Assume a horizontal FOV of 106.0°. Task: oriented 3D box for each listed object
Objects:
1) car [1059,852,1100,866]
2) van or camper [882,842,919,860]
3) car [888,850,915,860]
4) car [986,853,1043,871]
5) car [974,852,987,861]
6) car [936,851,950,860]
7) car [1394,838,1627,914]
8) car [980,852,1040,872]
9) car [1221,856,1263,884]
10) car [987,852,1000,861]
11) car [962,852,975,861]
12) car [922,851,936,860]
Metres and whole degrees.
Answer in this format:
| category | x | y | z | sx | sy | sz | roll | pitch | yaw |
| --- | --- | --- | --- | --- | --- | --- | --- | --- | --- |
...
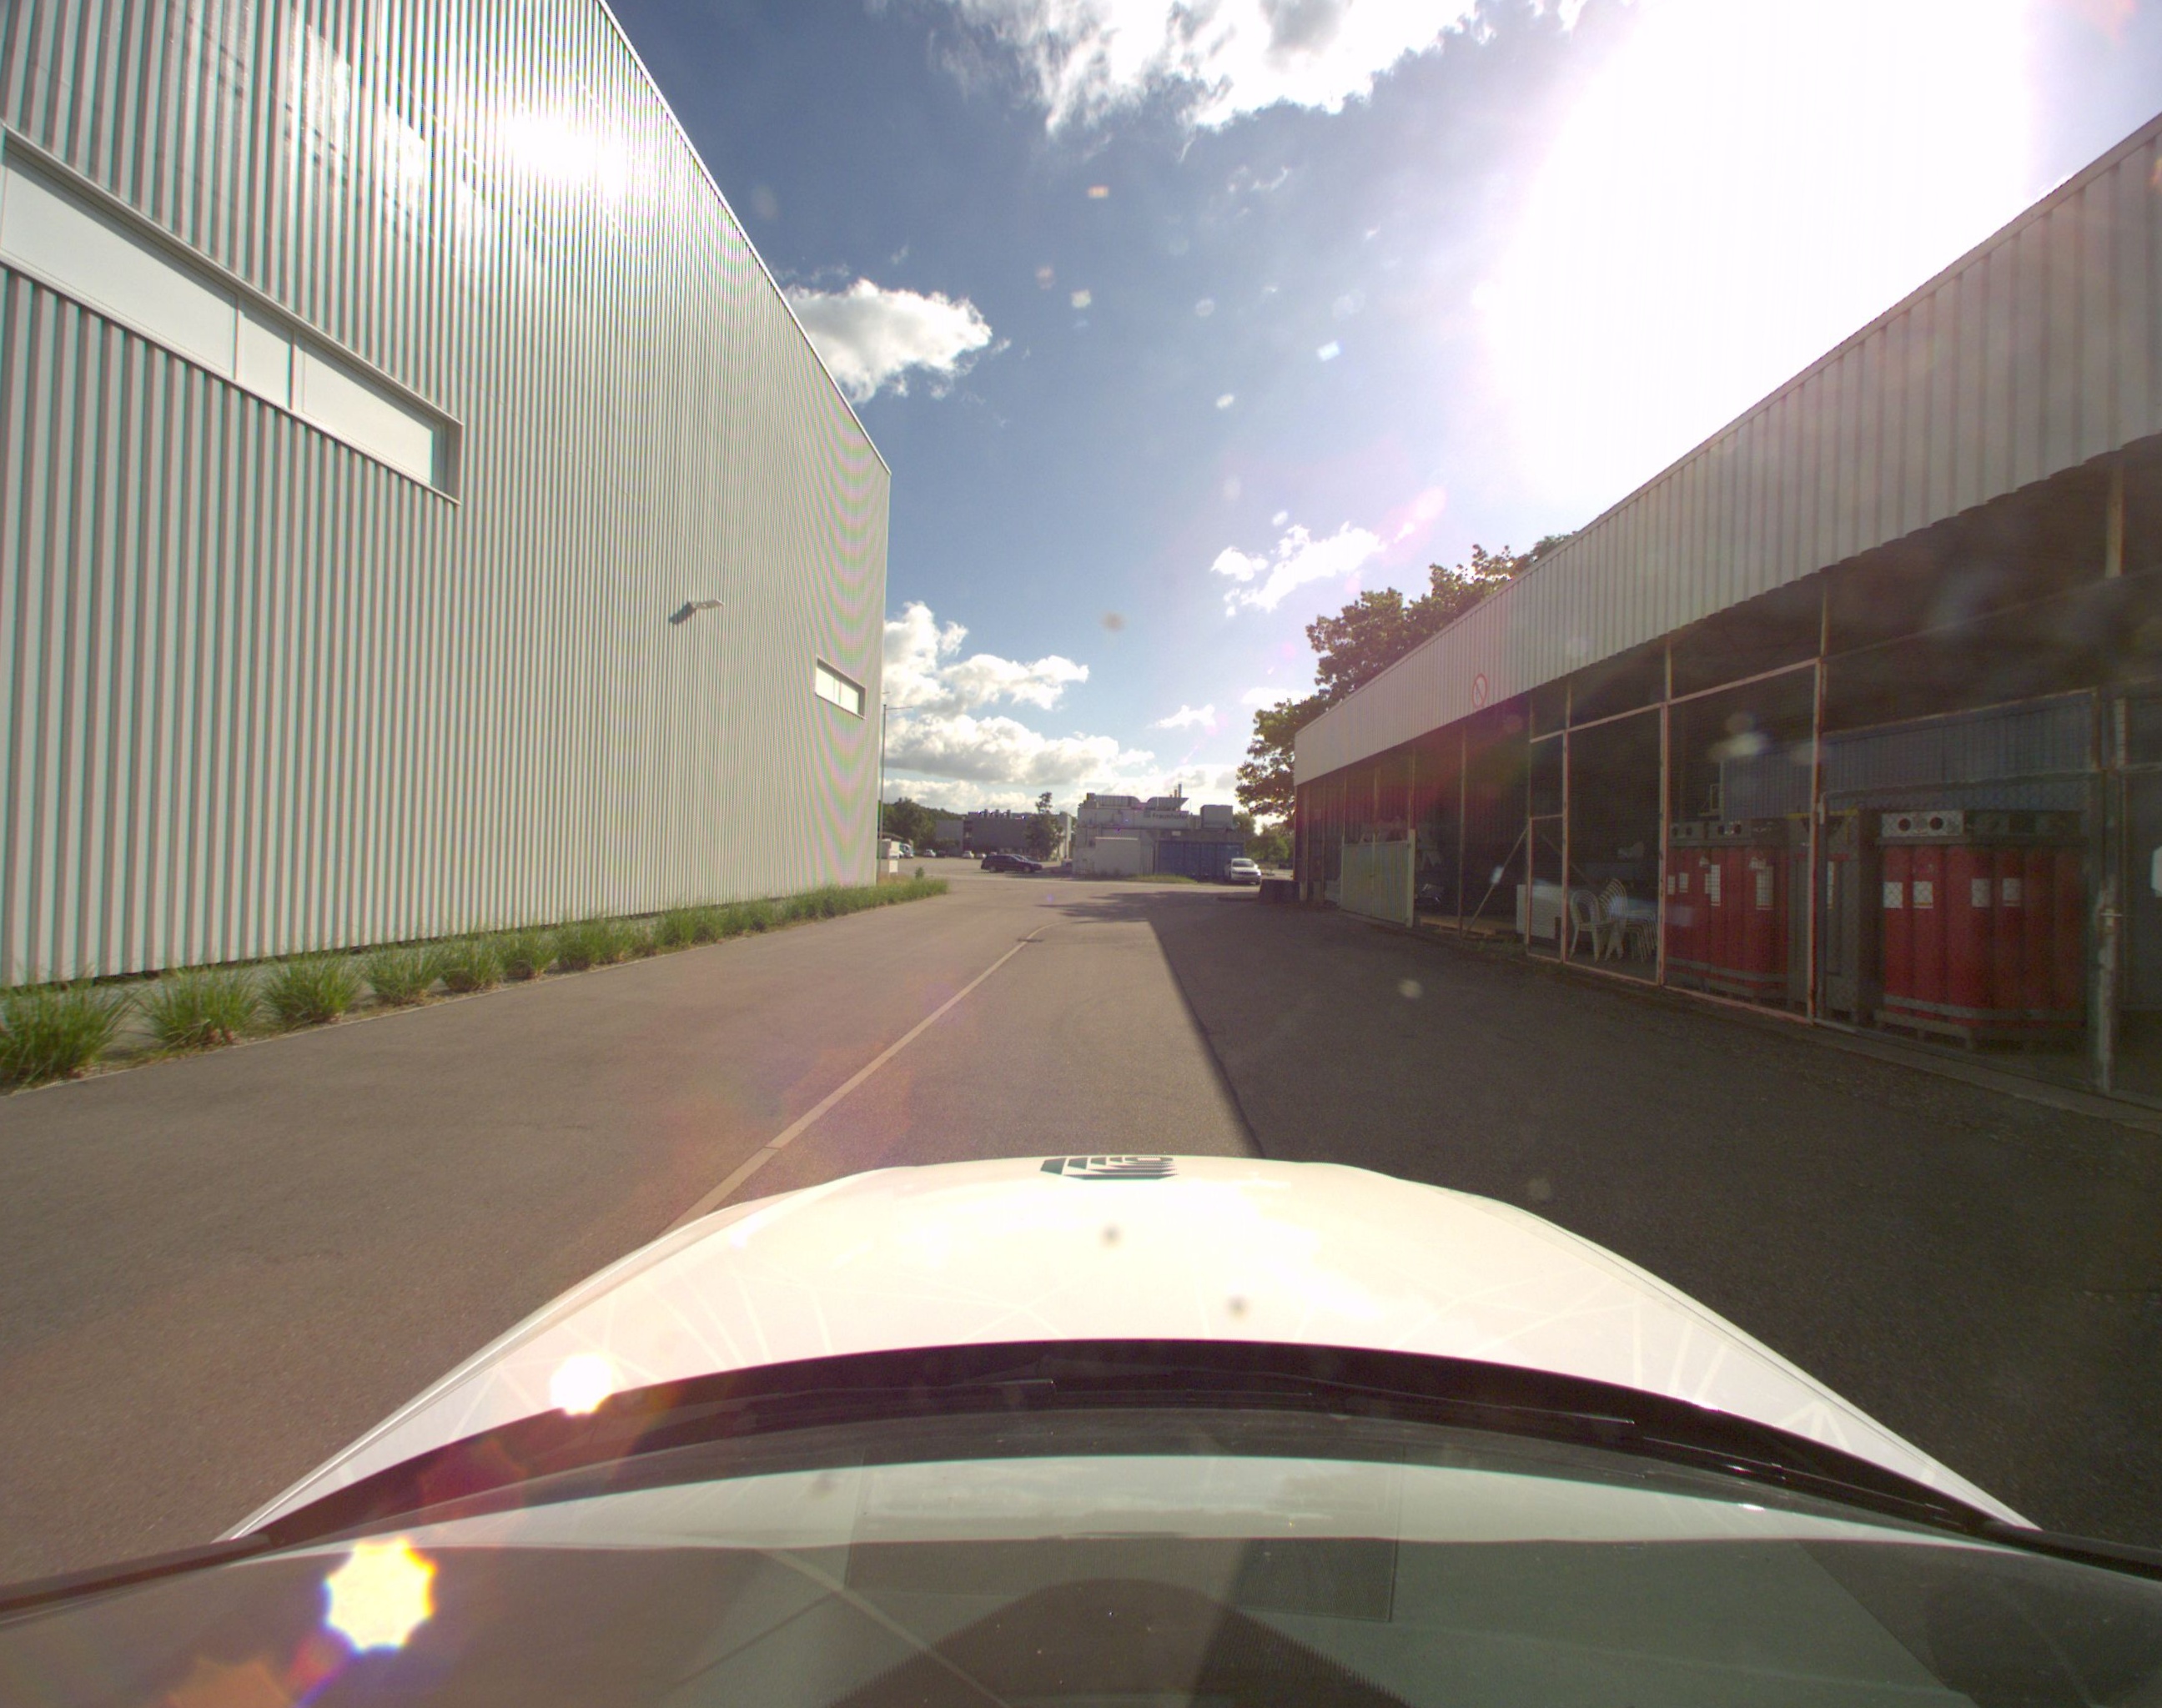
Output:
| category | x | y | z | sx | sy | sz | roll | pitch | yaw |
| --- | --- | --- | --- | --- | --- | --- | --- | --- | --- |
| car | -0.195 | 0.545 | 92.742 | 4.506 | 1.508 | 1.910 | 1 | 0 | 3 |
| van or camper | -30.901 | -0.449 | 139.773 | 5.695 | 2.928 | 2.473 | 1 | 0 | 0 |
| car | -30.013 | 0.205 | 136.473 | 3.973 | 1.610 | 2.000 | 1 | 0 | 1 |
| car | -5.565 | 0.672 | 68.538 | 4.505 | 1.508 | 1.911 | 0 | 0 | 4 |
| car | -20.093 | 0.477 | 162.714 | 1.986 | 1.736 | 4.002 | 0 | -1 | 2 |
| car | -27.599 | 0.318 | 162.831 | 1.986 | 1.736 | 4.002 | 0 | -1 | 2 |
| car | 11.283 | 0.562 | 21.609 | 5.225 | 1.876 | 1.998 | 1 | 0 | -3 |
| car | -5.692 | 0.642 | 65.301 | 4.505 | 1.508 | 1.911 | 0 | 0 | 4 |
| car | 10.247 | 0.993 | 51.968 | 1.986 | 1.585 | 4.175 | 1 | 1 | 2 |
| car | -17.502 | 0.428 | 162.968 | 2.185 | 1.736 | 4.002 | 0 | -1 | 2 |
| car | -22.562 | 0.500 | 163.152 | 1.986 | 1.736 | 4.002 | 0 | -1 | 2 |
| car | -30.390 | 0.341 | 162.983 | 1.986 | 1.736 | 4.002 | 0 | -1 | 2 |
